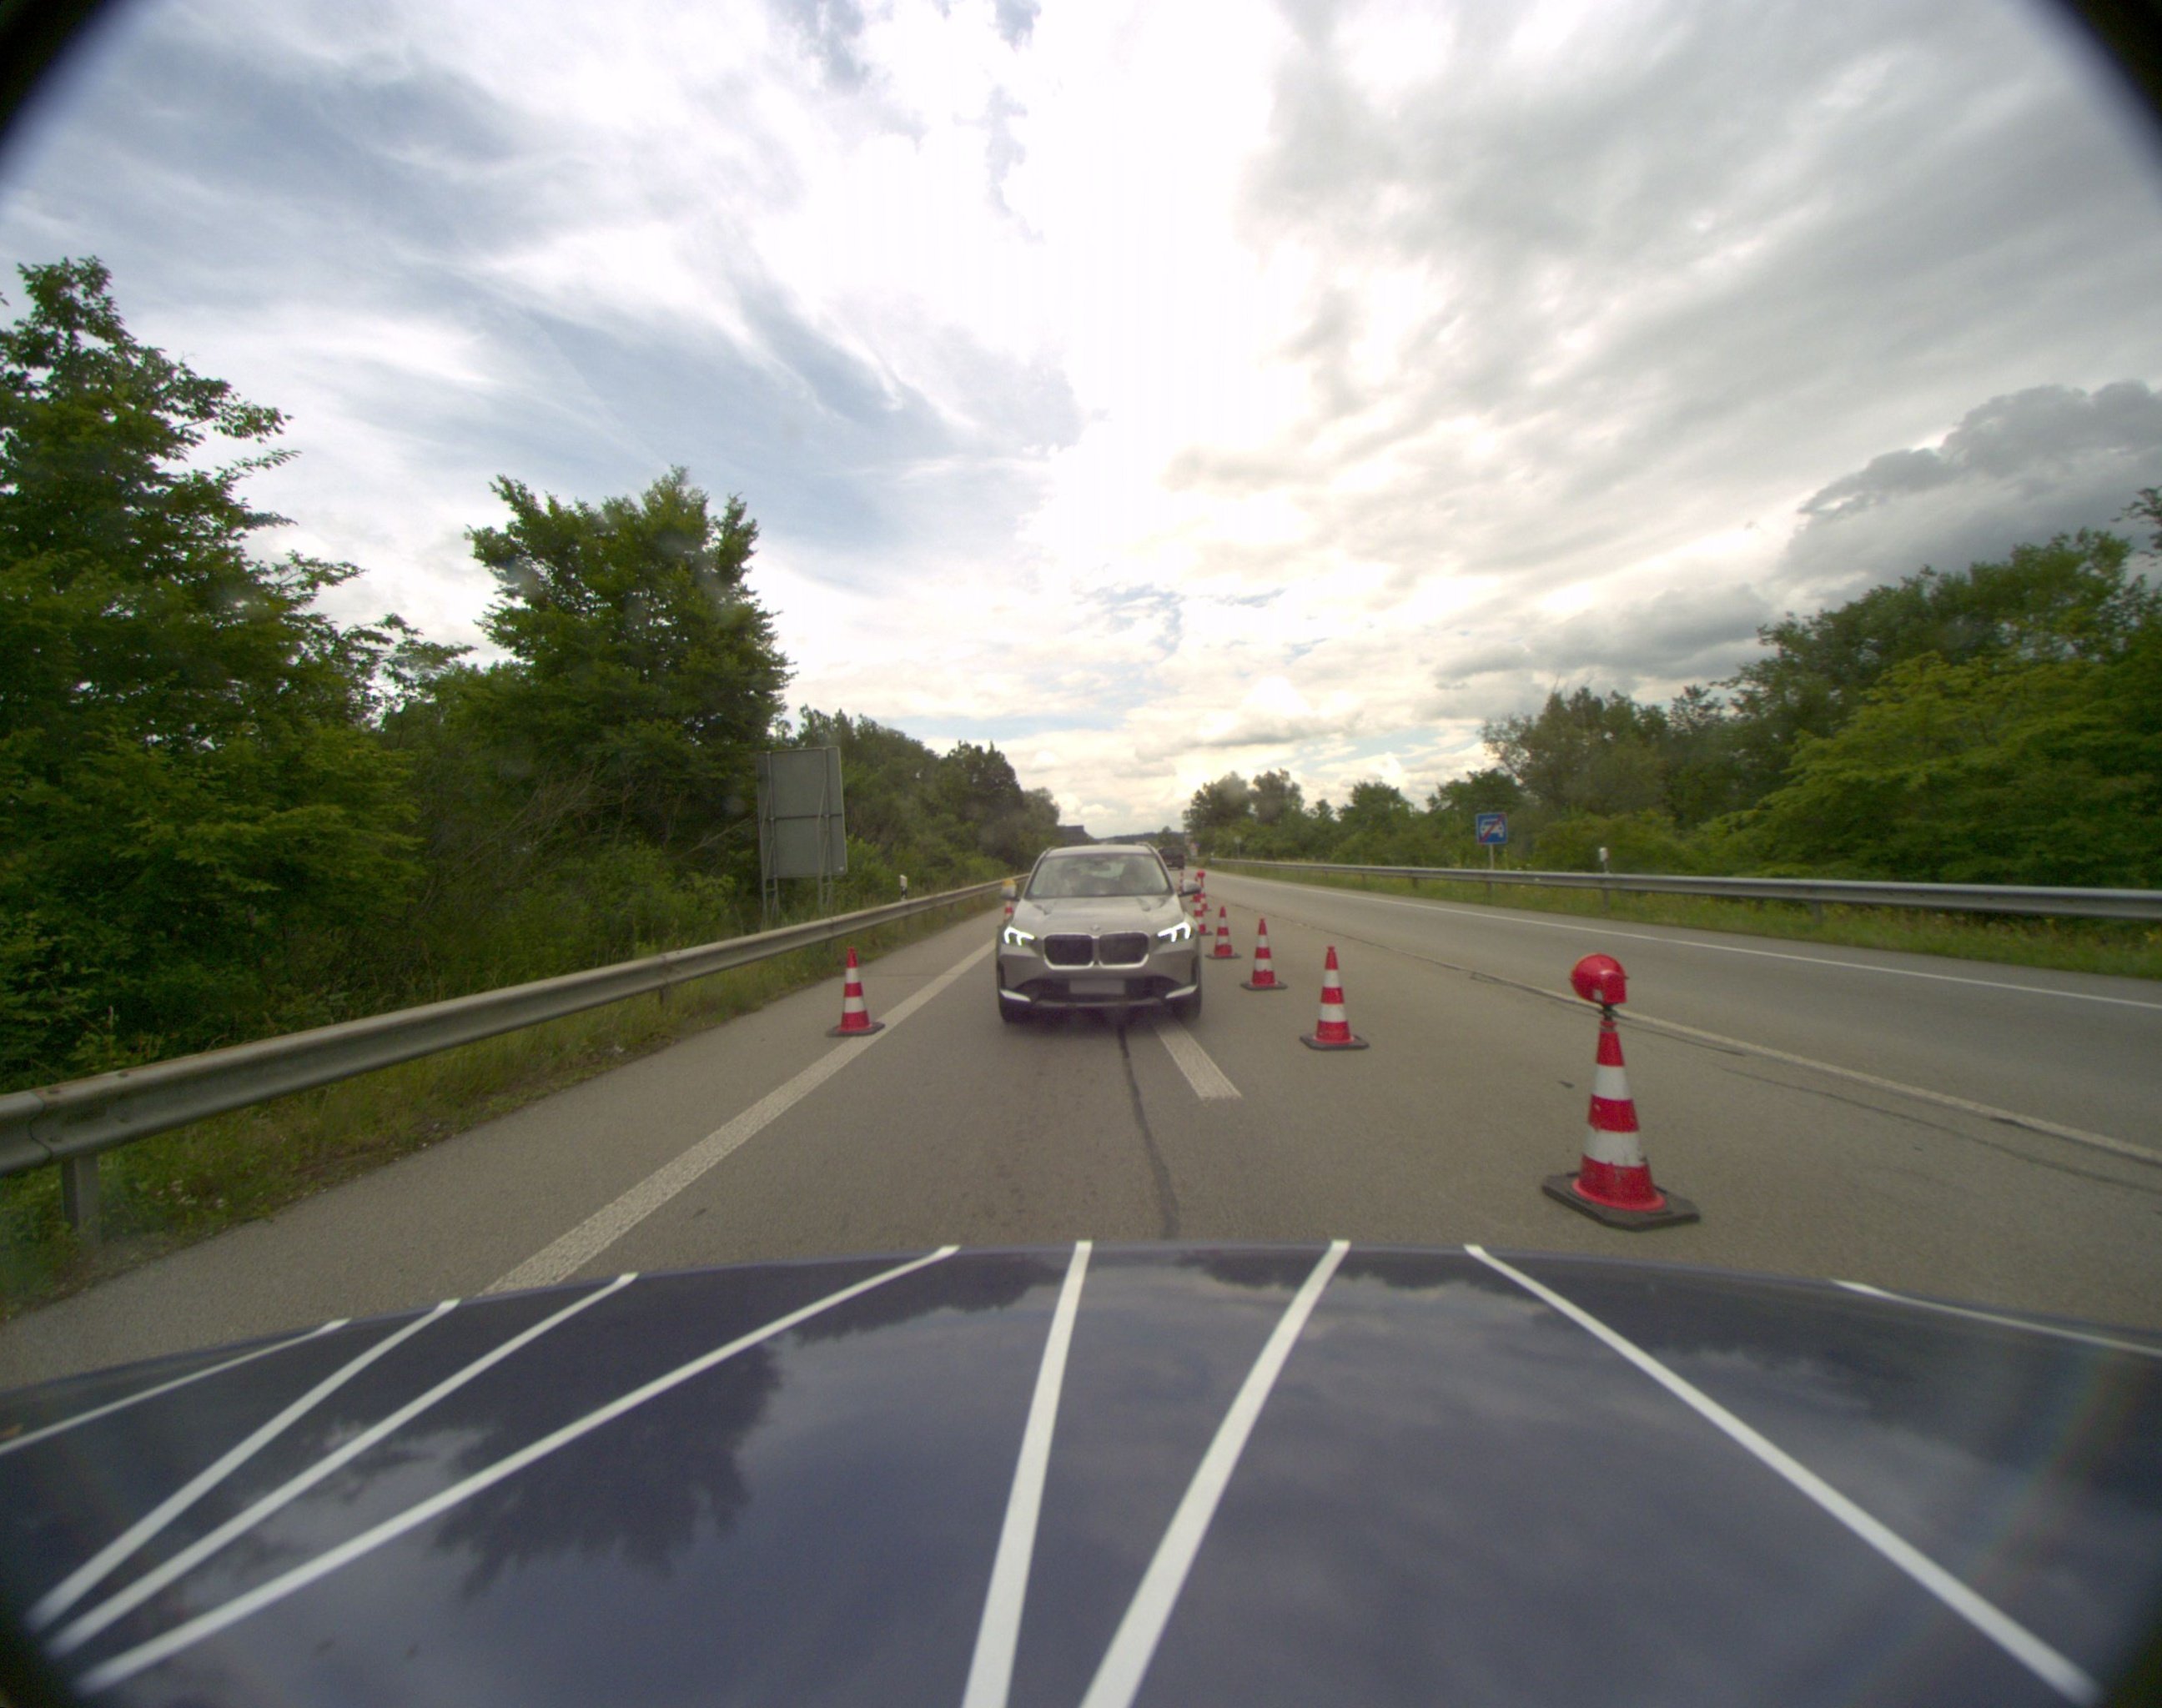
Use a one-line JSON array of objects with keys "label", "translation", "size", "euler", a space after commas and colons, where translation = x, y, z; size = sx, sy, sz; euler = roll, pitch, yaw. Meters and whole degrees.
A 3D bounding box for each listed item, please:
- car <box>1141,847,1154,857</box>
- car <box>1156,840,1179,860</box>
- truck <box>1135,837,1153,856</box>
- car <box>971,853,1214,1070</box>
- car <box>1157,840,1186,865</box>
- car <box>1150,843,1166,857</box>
[{"label": "car", "translation": [11.765, -0.388, 134.609], "size": [1.929, 1.597, 4.533], "euler": [-2, 0, 3]}, {"label": "car", "translation": [8.647, -0.444, 76.140], "size": [1.971, 1.873, 4.533], "euler": [-2, 0, 3]}, {"label": "truck", "translation": [13.372, -1.608, 161.795], "size": [3.113, 3.682, 9.544], "euler": [-2, 0, 2]}, {"label": "car", "translation": [0.200, 0.832, 8.062], "size": [1.817, 1.598, 4.434], "euler": [-2, 0, 3]}, {"label": "car", "translation": [7.544, -0.147, 63.759], "size": [2.034, 1.976, 5.316], "euler": [-2, 0, 2]}, {"label": "car", "translation": [10.575, -0.565, 104.955], "size": [1.929, 1.820, 4.533], "euler": [-2, 0, 3]}]
